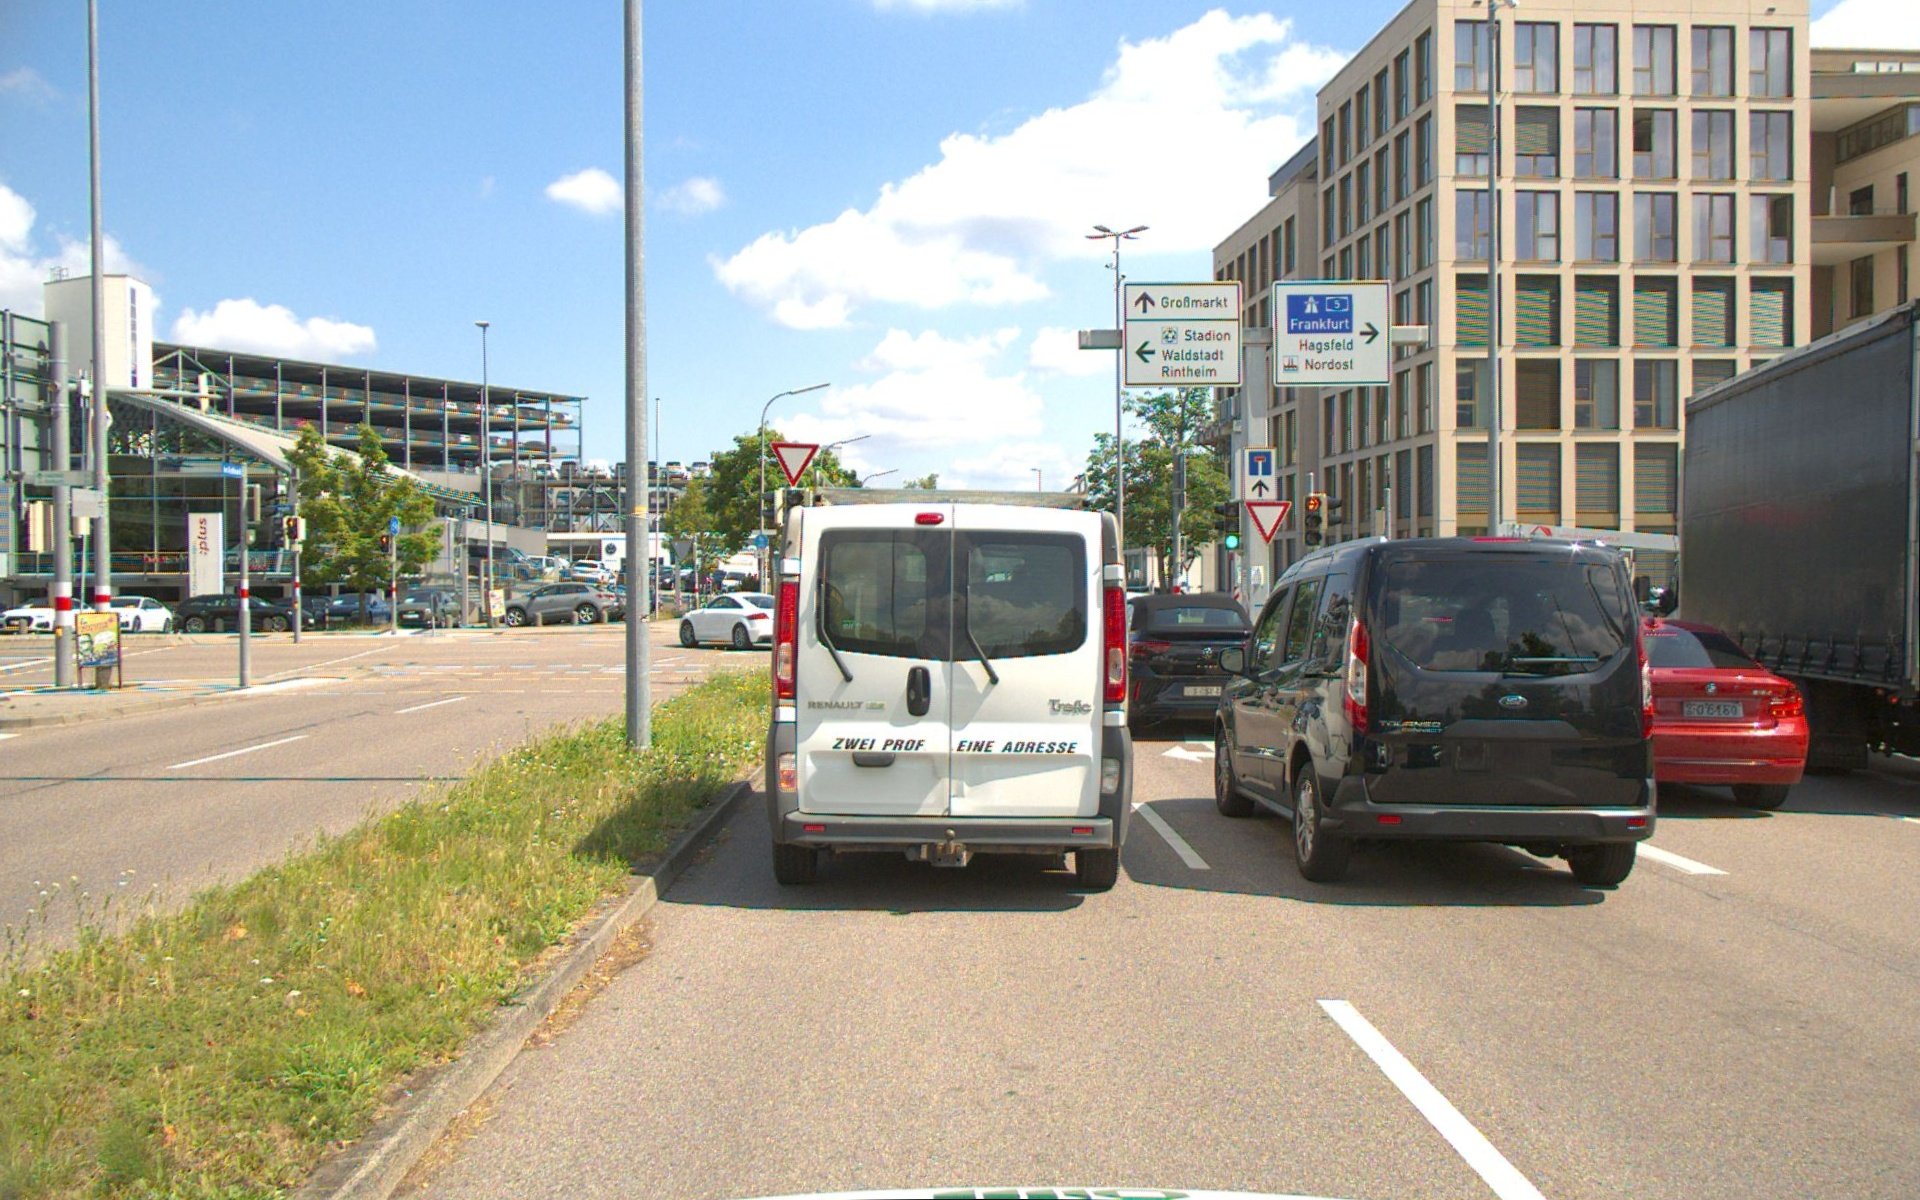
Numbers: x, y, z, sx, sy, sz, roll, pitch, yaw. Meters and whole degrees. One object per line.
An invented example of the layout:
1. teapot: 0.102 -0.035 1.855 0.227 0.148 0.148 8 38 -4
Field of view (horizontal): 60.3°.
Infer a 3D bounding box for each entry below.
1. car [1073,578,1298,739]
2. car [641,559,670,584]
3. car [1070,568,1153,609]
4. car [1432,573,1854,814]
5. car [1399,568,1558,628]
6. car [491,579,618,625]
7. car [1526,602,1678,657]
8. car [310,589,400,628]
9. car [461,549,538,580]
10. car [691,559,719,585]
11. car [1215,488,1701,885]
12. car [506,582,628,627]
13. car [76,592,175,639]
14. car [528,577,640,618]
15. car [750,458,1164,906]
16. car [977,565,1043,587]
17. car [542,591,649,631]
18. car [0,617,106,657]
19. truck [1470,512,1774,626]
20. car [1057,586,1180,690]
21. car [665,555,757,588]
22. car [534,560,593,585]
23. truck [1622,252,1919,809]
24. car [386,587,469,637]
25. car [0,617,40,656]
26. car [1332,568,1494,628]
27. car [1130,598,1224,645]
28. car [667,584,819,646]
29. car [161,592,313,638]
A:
1. car: 2.467 0.599 19.056 1.739 1.658 3.996 0 0 -5
2. car: -19.974 -1.848 108.567 1.531 1.579 3.598 1 0 -6
3. car: 7.851 -0.593 85.974 3.913 2.049 1.996 1 -1 -9
4. car: 5.460 0.687 13.869 1.821 1.684 4.219 1 -1 0
5. car: 15.366 -0.052 49.080 4.119 1.655 1.825 1 -1 -8
6. car: -15.703 0.079 64.227 4.484 1.707 1.906 1 -1 -4
7. car: 20.357 0.917 52.510 4.113 1.655 1.827 1 -1 -2
8. car: -21.717 0.324 59.536 1.864 1.320 4.585 1 0 -5
9. car: -28.641 -2.206 103.017 4.356 1.833 1.762 1 -1 -7
10. car: -16.660 -1.822 108.176 1.531 1.579 3.598 1 0 -6
11. car: 2.753 0.418 10.125 1.786 1.938 4.000 0 0 0
12. car: -15.783 0.203 66.605 4.484 1.707 1.906 1 -1 -4
13. car: -29.351 0.571 58.292 1.755 1.490 3.995 -1 -3 -5
14. car: -16.521 -0.081 72.844 4.484 1.707 1.906 1 -1 -4
15. car: -0.044 0.380 10.060 1.933 2.096 4.563 0 0 -1
16. car: 4.906 -2.364 162.808 6.214 2.049 2.571 1 -1 -3
17. car: -16.538 0.479 75.186 4.484 1.707 1.906 -1 1 -4
18. car: -32.013 1.269 58.185 1.864 1.320 4.585 1 0 -5
19. truck: 22.539 -1.010 56.449 9.568 3.617 2.670 1 -1 -8
20. car: 2.652 0.600 28.442 1.737 1.658 4.000 0 0 0
21. car: -17.376 -1.987 115.573 6.264 2.139 1.763 1 -1 -6
22. car: -27.644 -1.909 115.423 3.917 1.579 1.759 1 -1 -13
23. truck: 9.293 -0.446 16.385 3.143 4.098 9.078 1 0 9
24. car: -19.121 0.425 59.574 1.864 1.707 4.585 1 0 -5
25. car: -34.161 1.267 57.732 1.864 1.320 4.585 1 0 -5
26. car: 15.214 -0.058 55.648 4.883 1.870 1.996 1 -1 -8
27. car: 10.043 0.991 76.674 3.913 2.049 1.996 1 -1 -9
28. car: -5.391 0.356 40.787 1.844 1.467 3.940 1 -1 -41
29. car: -25.898 0.545 59.371 4.649 1.490 1.793 -1 -3 -6
